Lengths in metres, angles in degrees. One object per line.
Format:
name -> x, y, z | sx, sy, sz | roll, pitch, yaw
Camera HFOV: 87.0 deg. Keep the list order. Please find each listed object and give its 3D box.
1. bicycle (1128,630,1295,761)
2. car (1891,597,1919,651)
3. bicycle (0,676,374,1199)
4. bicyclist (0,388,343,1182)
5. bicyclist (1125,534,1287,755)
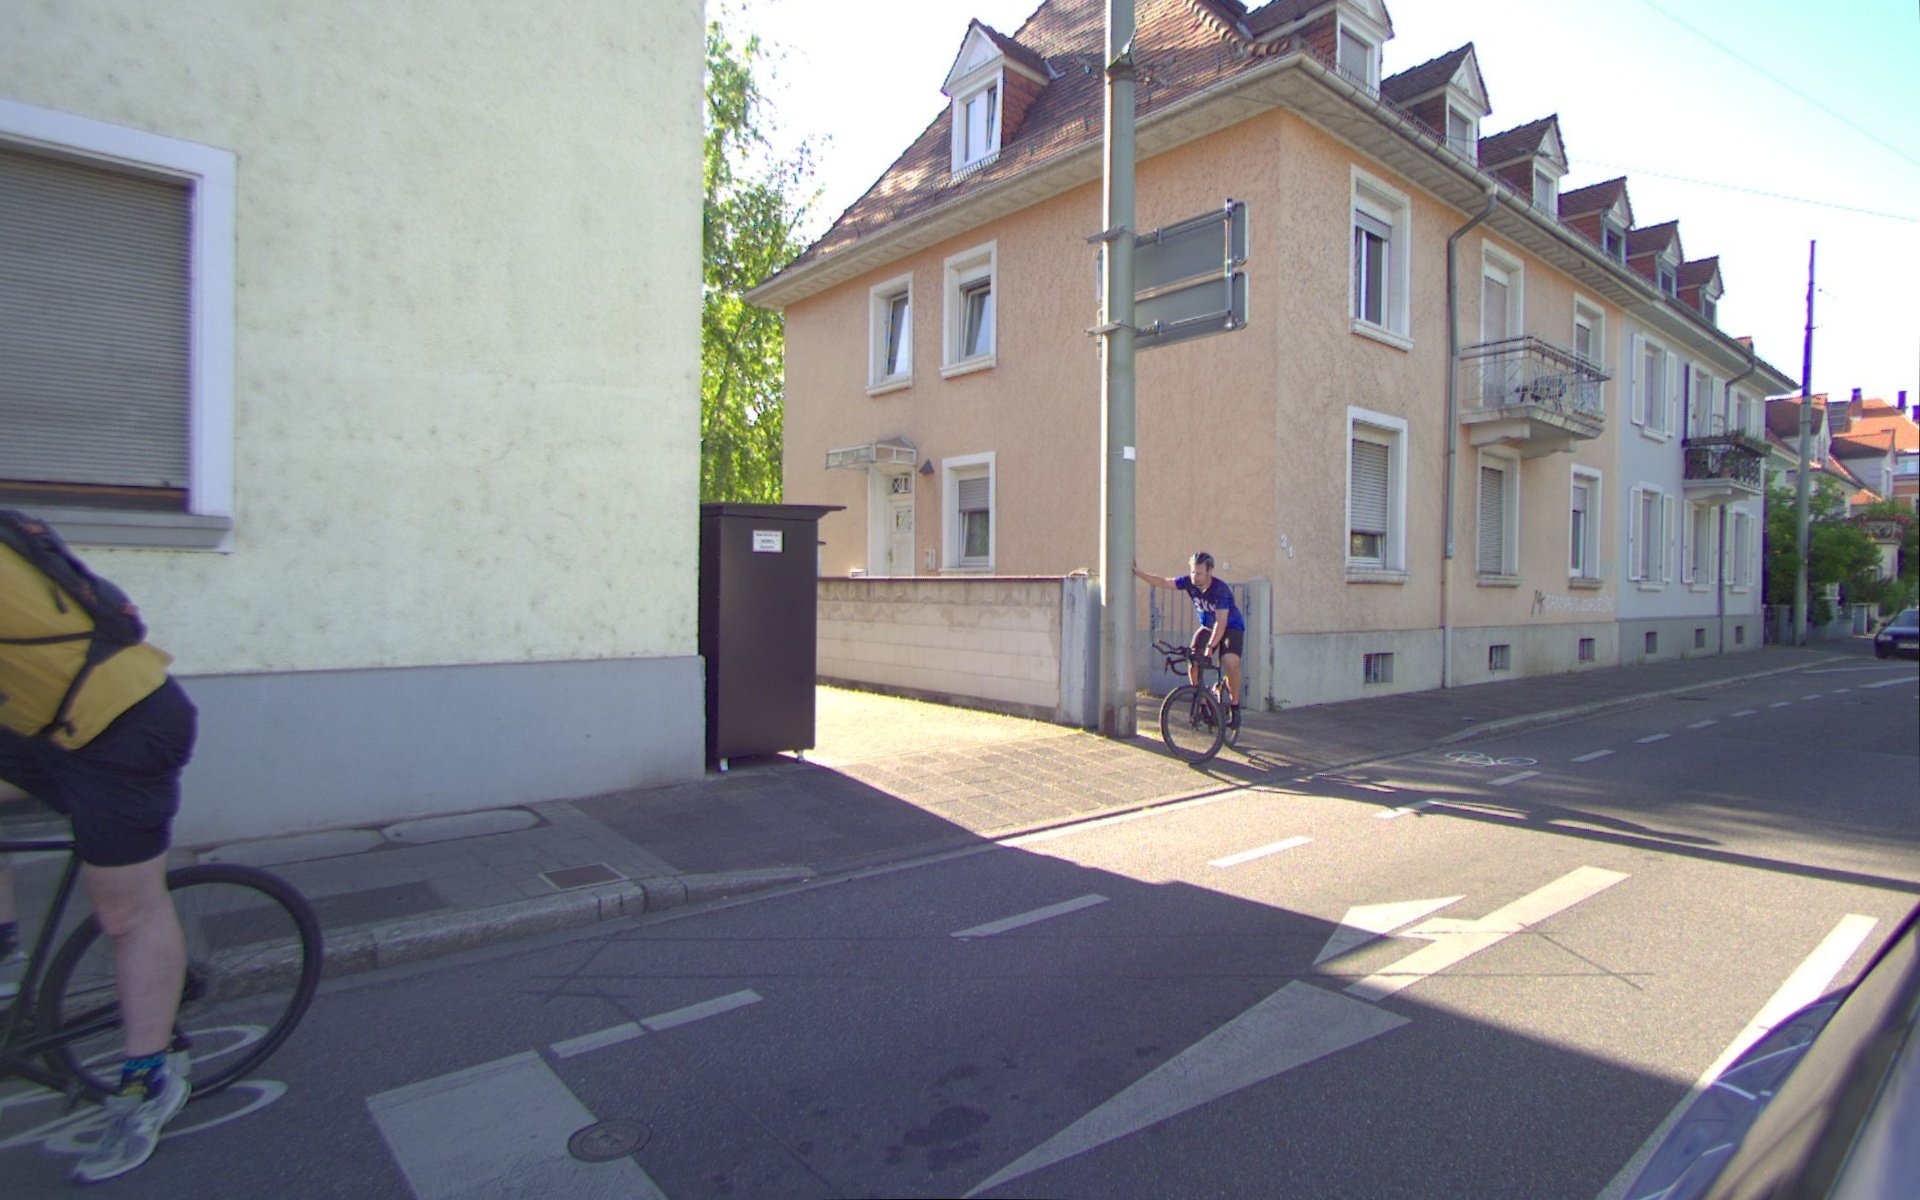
bicycle -> 2.314, 0.821, 9.215 | 1.669, 1.003, 0.572 | 0, 4, -41
car -> 26.695, 0.633, 27.350 | 3.796, 1.382, 1.648 | 0, 1, -38
bicycle -> -2.479, 0.847, 2.540 | 1.669, 1.180, 0.572 | 0, 1, -41
bicyclist -> -2.303, 0.424, 2.705 | 1.018, 1.840, 0.653 | 0, 1, -41
bicyclist -> 2.281, 0.364, 9.440 | 0.831, 1.887, 1.076 | 0, 4, -40
